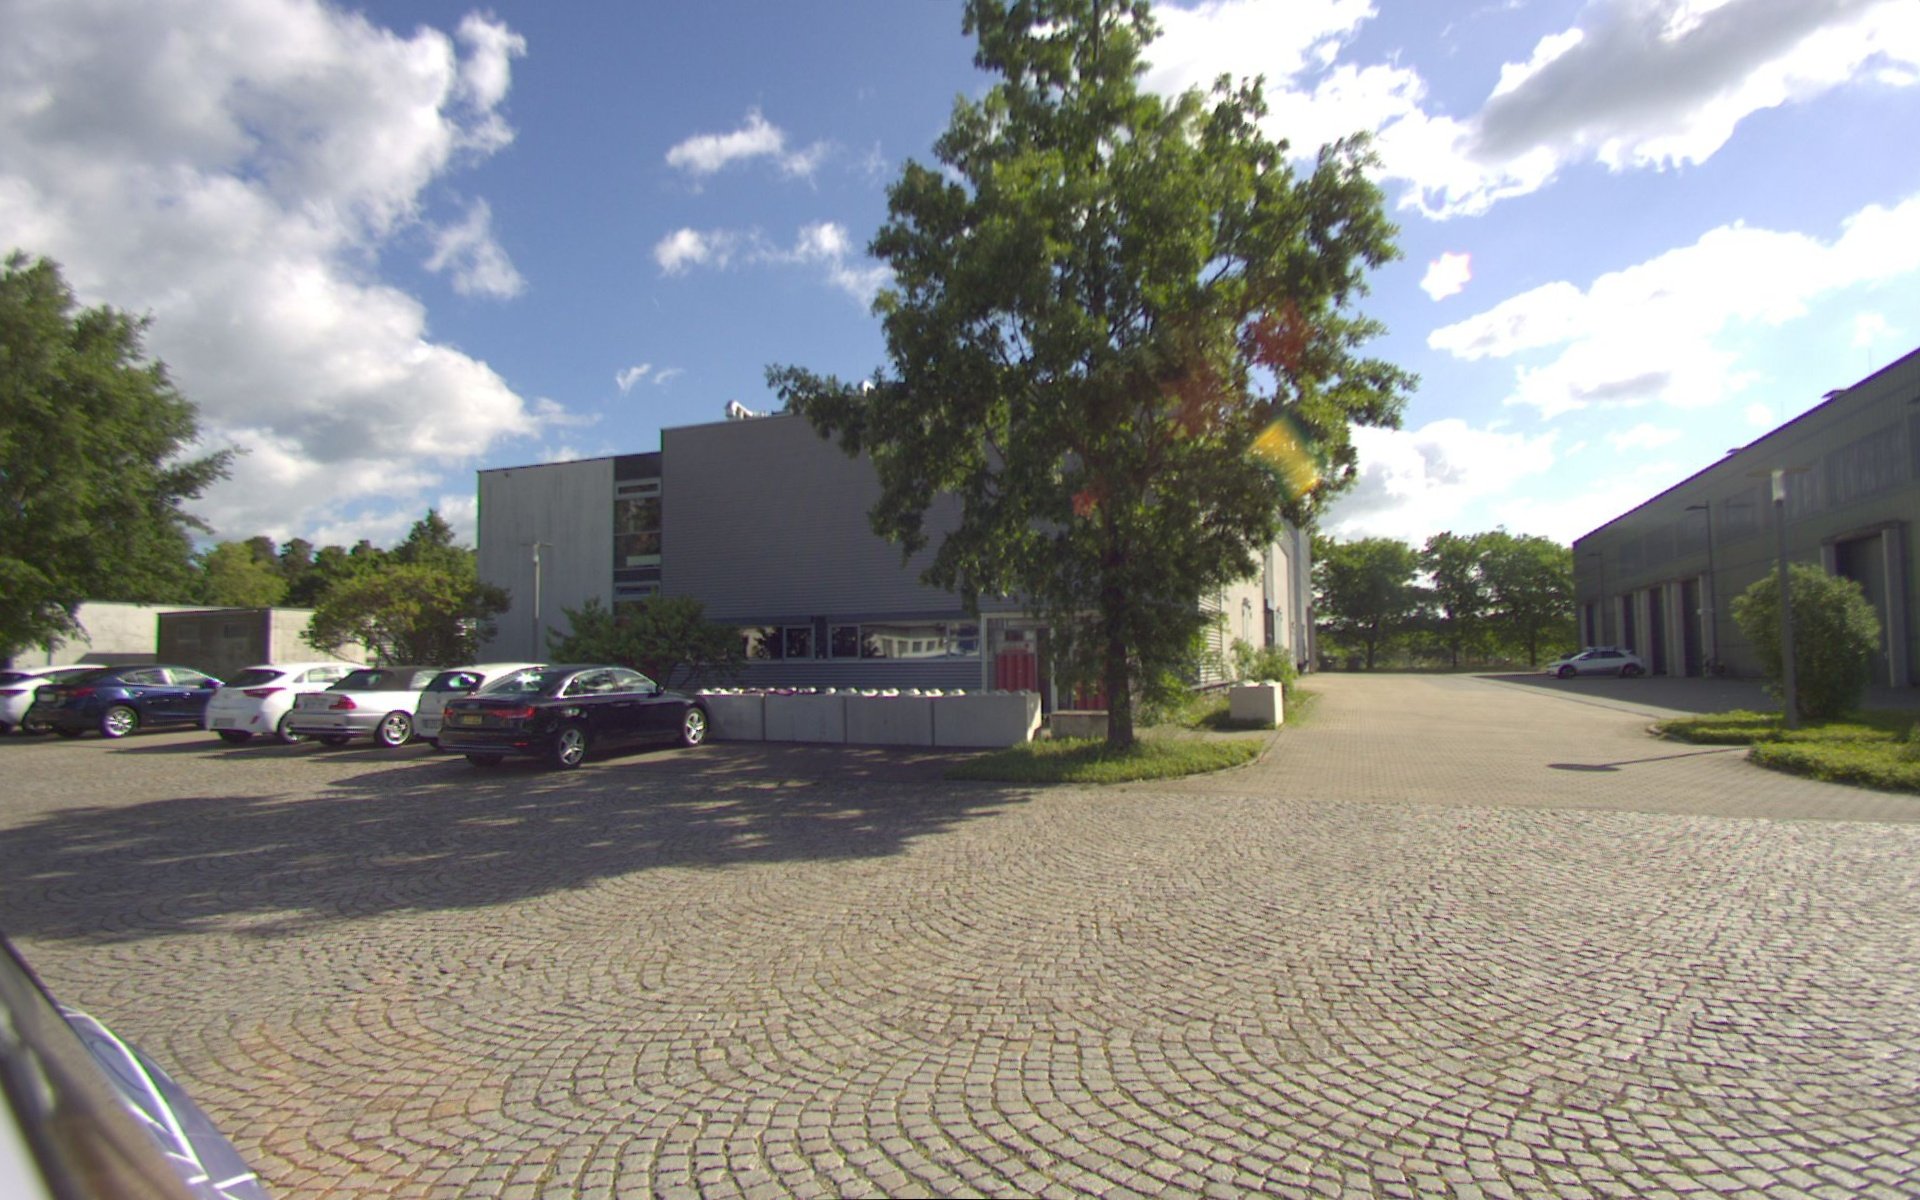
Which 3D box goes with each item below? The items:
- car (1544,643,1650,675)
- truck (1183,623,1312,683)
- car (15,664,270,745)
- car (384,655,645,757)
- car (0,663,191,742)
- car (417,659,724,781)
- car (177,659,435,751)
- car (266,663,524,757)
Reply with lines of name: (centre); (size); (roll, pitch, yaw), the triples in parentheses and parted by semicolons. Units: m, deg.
car: (34.969, 3.262, 55.745); (4.547, 1.676, 1.985); (-2, -4, 22)
truck: (19.488, 3.665, 68.696); (8.051, 3.847, 2.630); (-3, -4, 23)
car: (-17.177, 2.139, 21.495); (1.681, 1.428, 3.895); (-2, -2, 23)
car: (-7.701, 1.779, 17.897); (1.683, 1.471, 4.113); (-3, -2, 27)
car: (-19.641, 2.196, 22.324); (1.784, 1.446, 3.895); (0, -2, 23)
car: (-5.709, 1.703, 15.568); (1.744, 1.434, 4.701); (-2, -2, 21)
car: (-12.430, 1.945, 19.518); (1.744, 1.458, 3.895); (-2, -2, 23)
car: (-10.109, 1.909, 18.434); (1.717, 1.382, 3.895); (-2, -2, 23)
